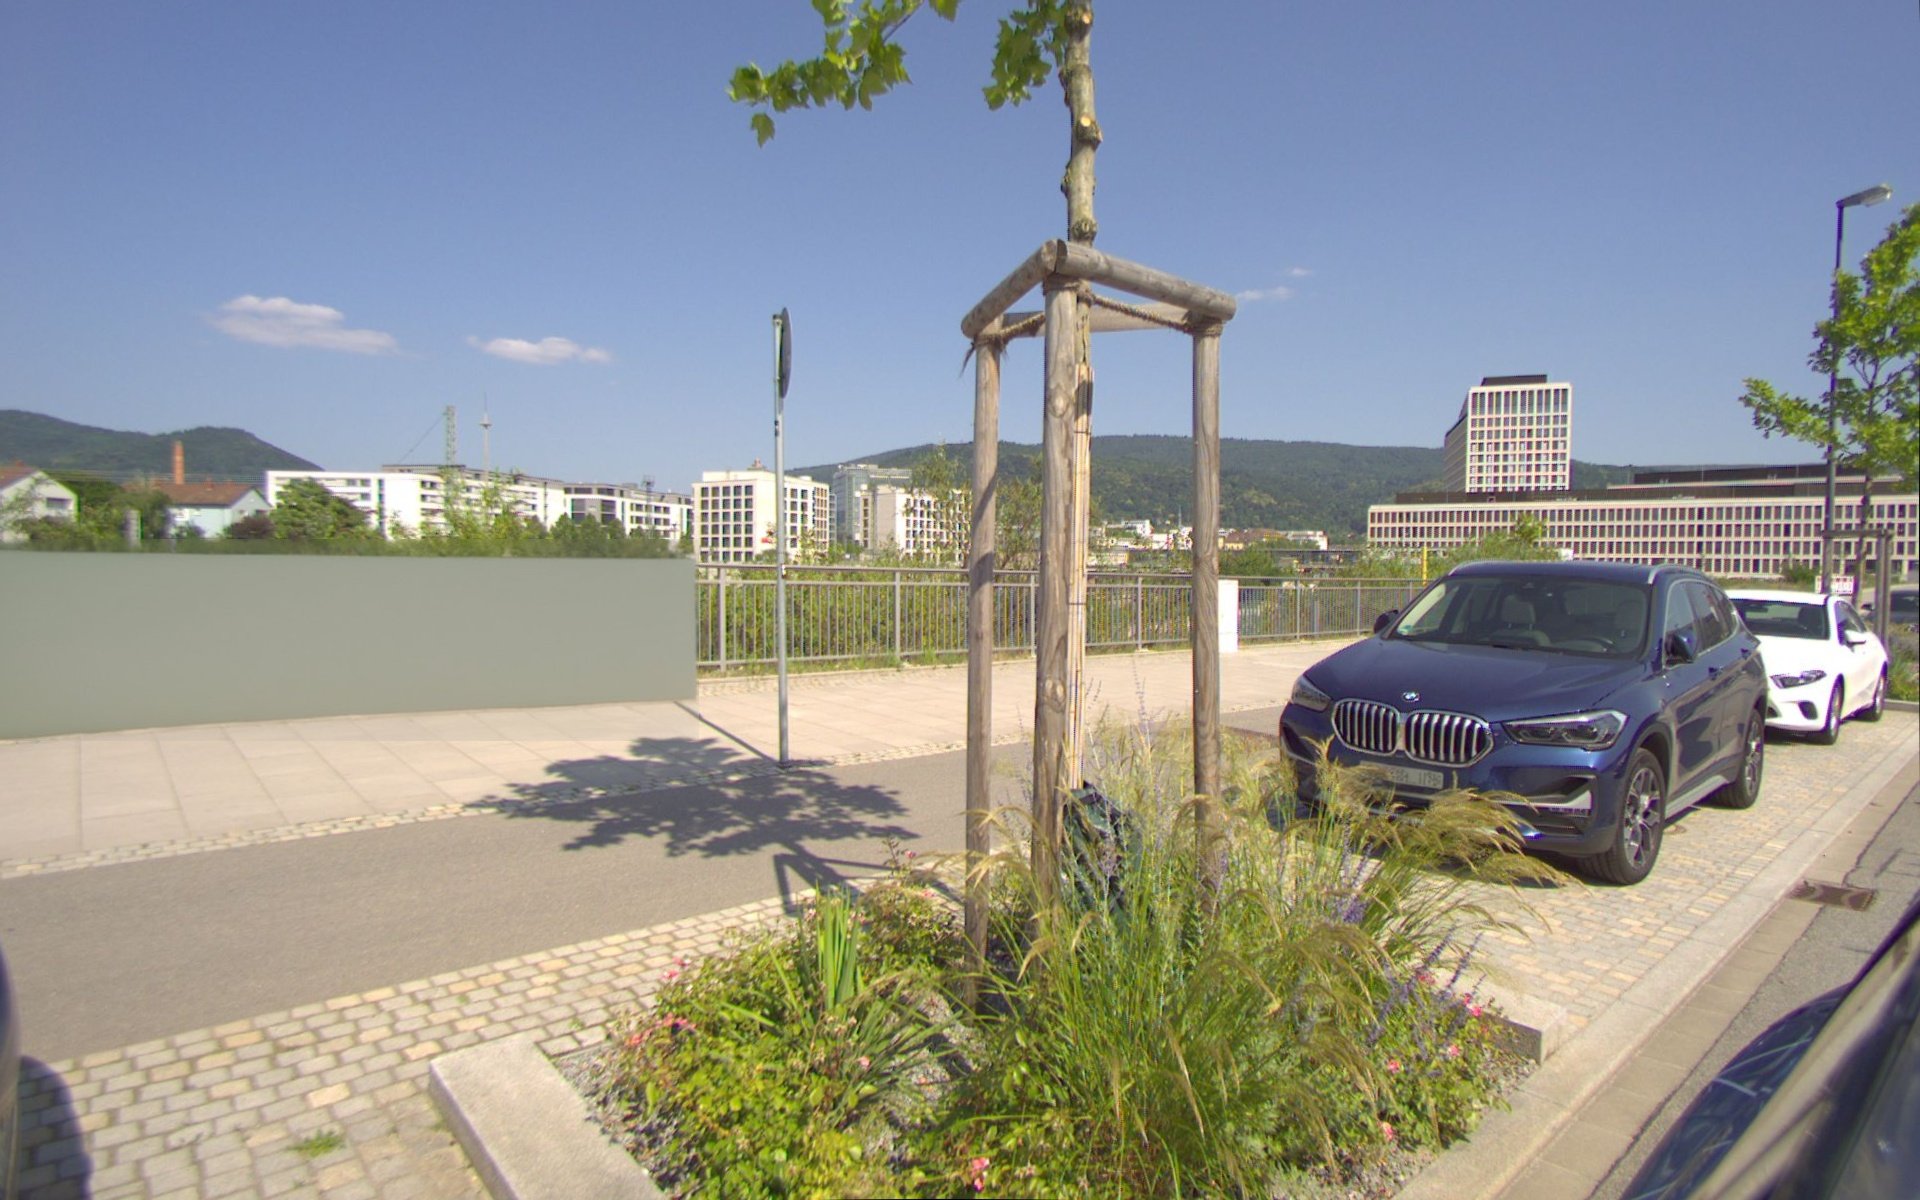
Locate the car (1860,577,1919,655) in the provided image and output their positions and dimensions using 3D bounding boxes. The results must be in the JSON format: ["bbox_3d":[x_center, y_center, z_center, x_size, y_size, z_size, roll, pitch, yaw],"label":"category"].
[{"bbox_3d":[20.200,0.312,20.973,3.849,1.449,1.808,-1,5,-41],"label":"car"}]

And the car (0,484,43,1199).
[{"bbox_3d":[-2.847,0.607,0.509,3.485,1.574,1.585,0,4,-41],"label":"car"}]

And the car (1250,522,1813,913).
[{"bbox_3d":[3.834,0.425,6.456,4.197,1.703,1.807,-1,4,-41],"label":"car"}]

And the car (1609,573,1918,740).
[{"bbox_3d":[8.827,0.456,11.000,4.194,1.390,1.711,-1,5,-39],"label":"car"}]
